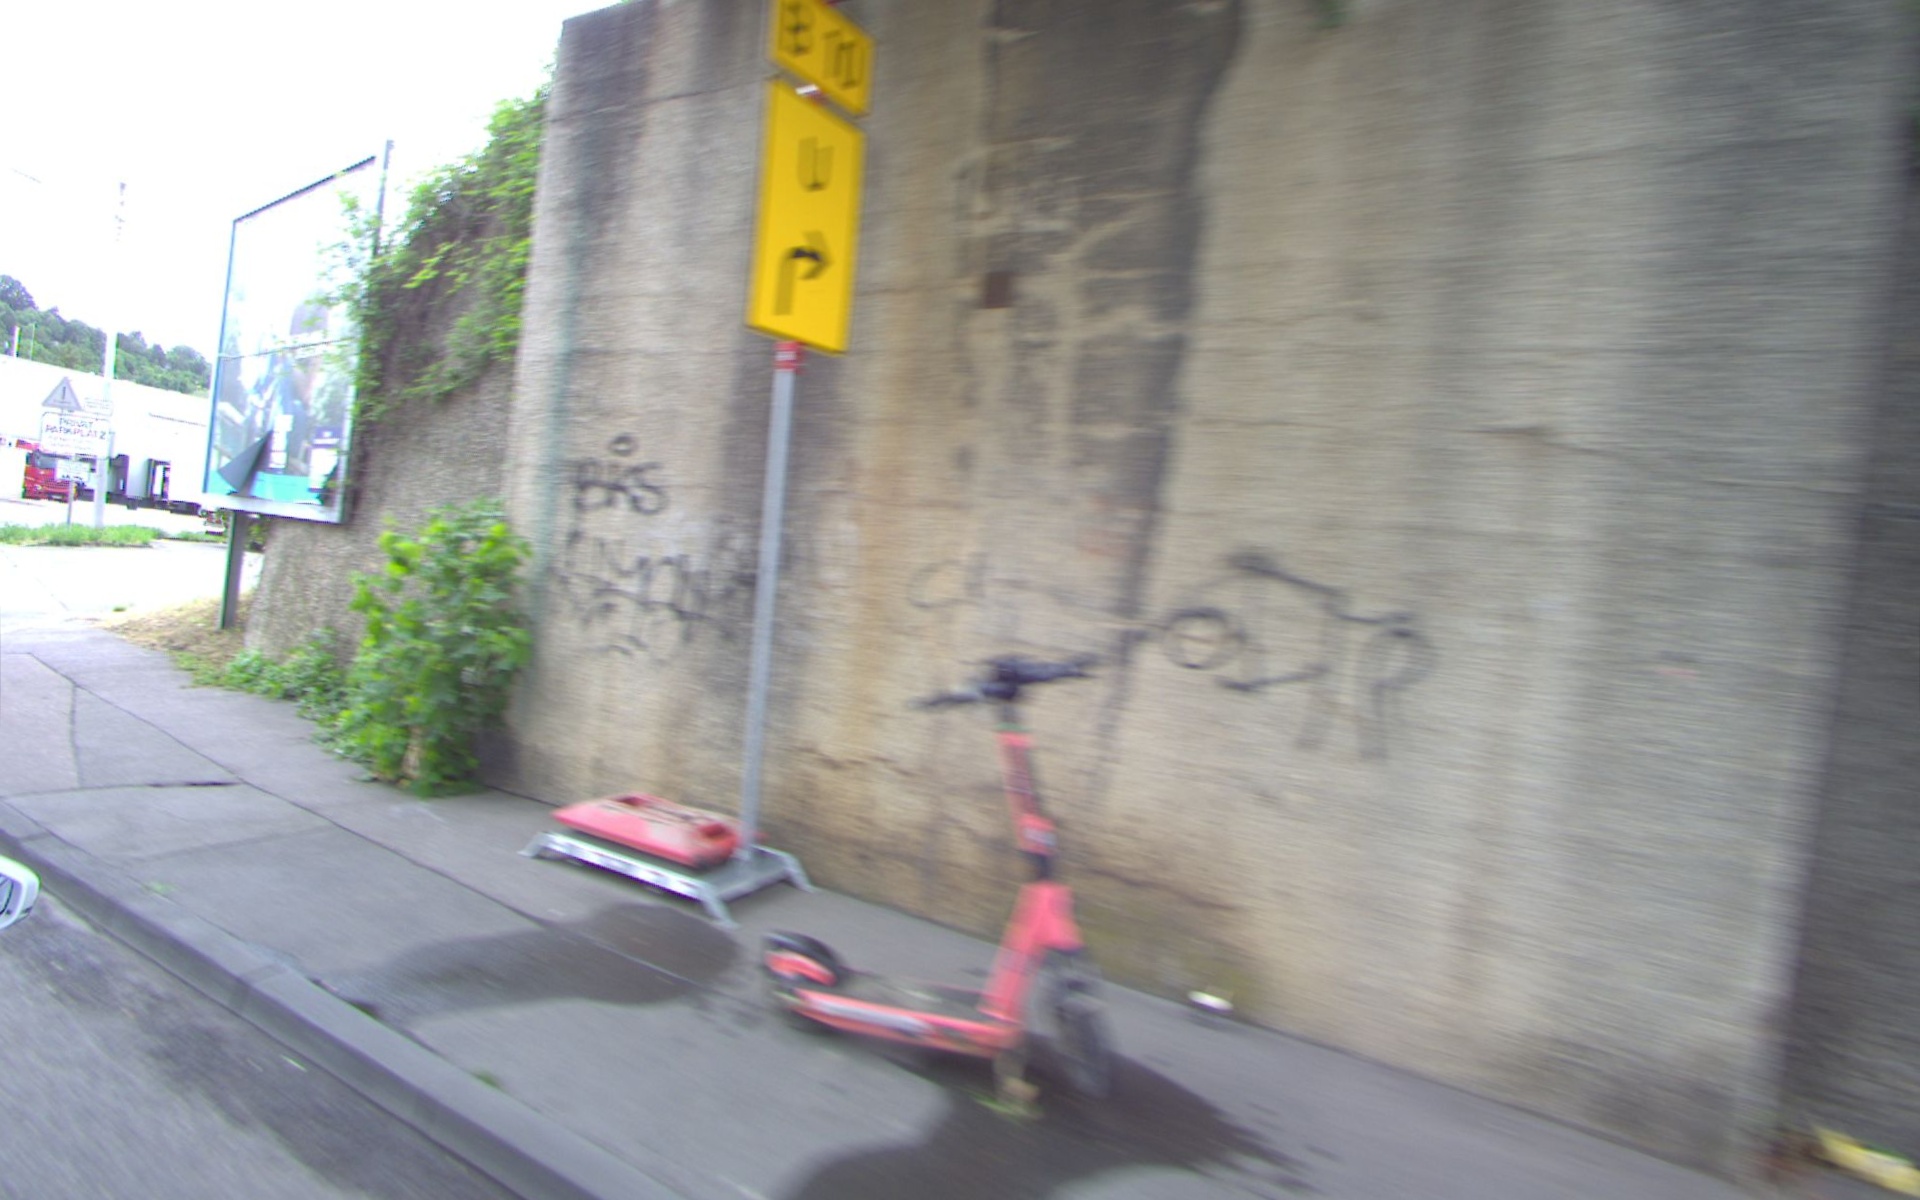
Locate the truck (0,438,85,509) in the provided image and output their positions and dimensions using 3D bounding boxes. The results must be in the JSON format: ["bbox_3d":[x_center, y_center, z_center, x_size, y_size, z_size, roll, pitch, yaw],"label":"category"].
[{"bbox_3d":[-61.212,-8.351,66.285,5.817,3.976,2.801,7,0,23],"label":"truck"}]

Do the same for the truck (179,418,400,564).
[{"bbox_3d":[-22.097,-3.346,33.917,3.024,3.675,8.584,7,-1,-13],"label":"truck"}]

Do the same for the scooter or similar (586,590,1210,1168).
[{"bbox_3d":[-0.196,0.683,2.913,1.638,1.254,0.504,6,4,17],"label":"scooter or similar"}]

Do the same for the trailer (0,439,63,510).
[{"bbox_3d":[-65.973,-8.775,68.434,10.795,4.127,2.792,7,0,23],"label":"trailer"}]
